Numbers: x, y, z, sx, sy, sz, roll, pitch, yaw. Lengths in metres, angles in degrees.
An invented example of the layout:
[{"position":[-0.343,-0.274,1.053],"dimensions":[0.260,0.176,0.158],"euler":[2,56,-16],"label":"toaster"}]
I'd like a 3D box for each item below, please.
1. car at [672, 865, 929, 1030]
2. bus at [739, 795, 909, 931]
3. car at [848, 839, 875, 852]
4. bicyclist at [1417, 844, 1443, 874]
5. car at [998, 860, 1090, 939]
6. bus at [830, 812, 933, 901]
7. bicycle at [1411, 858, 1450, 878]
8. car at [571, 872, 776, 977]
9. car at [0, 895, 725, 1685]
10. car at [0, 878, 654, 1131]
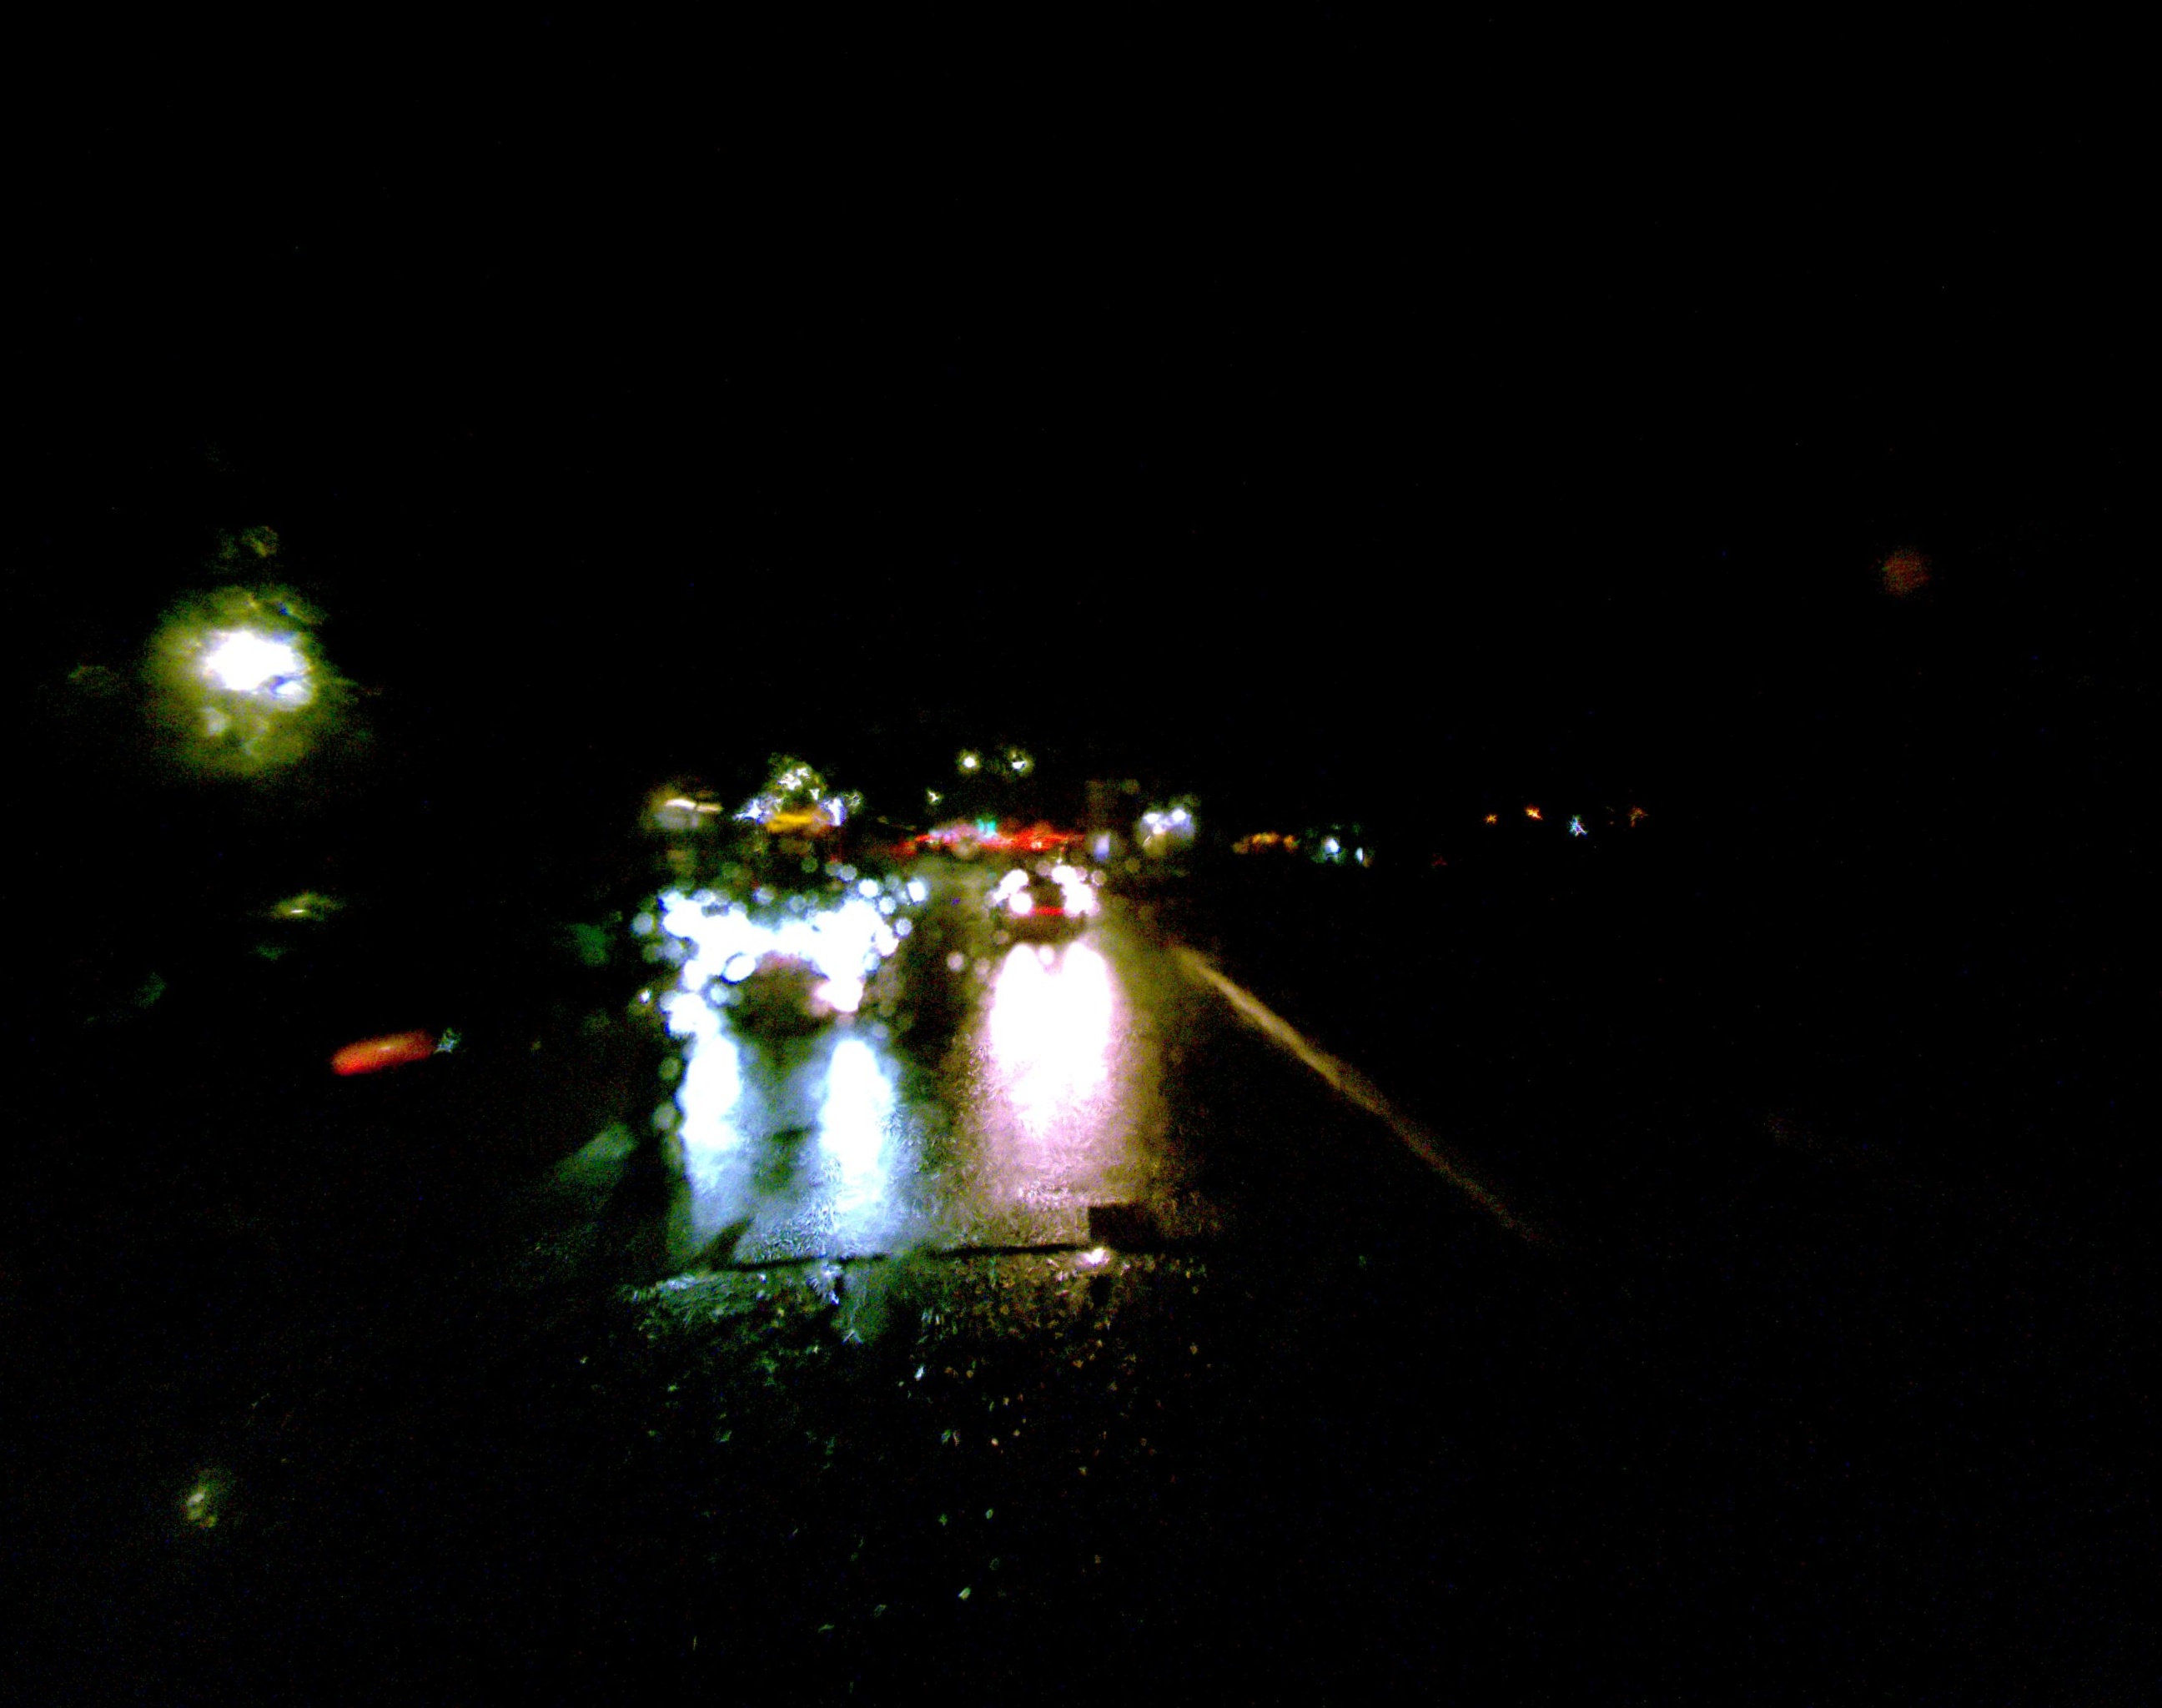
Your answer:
[{"position":[-3.307,0.993,9.915],"dimensions":[1.724,1.478,4.161],"euler":[-4,1,0],"label":"car"},{"position":[-7.370,0.150,23.466],"dimensions":[2.742,3.258,9.693],"euler":[-2,1,-6],"label":"bus"},{"position":[-23.718,-0.914,81.931],"dimensions":[1.712,1.382,3.990],"euler":[-2,1,-32],"label":"car"},{"position":[17.029,0.228,37.109],"dimensions":[0.629,1.427,1.187],"euler":[-1,1,-9],"label":"bicyclist"},{"position":[-0.722,0.882,16.521],"dimensions":[1.755,1.438,3.973],"euler":[0,1,0],"label":"car"},{"position":[-8.344,0.034,33.121],"dimensions":[2.742,3.219,9.693],"euler":[-2,1,-6],"label":"bus"},{"position":[17.034,0.673,37.106],"dimensions":[0.628,0.899,2.211],"euler":[-1,1,-9],"label":"bicycle"},{"position":[-7.128,1.136,13.826],"dimensions":[1.725,1.478,4.160],"euler":[0,1,-4],"label":"car"},{"position":[-3.146,1.025,2.766],"dimensions":[1.724,1.438,4.161],"euler":[-1,1,0],"label":"car"},{"position":[-6.427,1.089,7.505],"dimensions":[1.724,1.478,4.786],"euler":[-1,1,0],"label":"car"}]
